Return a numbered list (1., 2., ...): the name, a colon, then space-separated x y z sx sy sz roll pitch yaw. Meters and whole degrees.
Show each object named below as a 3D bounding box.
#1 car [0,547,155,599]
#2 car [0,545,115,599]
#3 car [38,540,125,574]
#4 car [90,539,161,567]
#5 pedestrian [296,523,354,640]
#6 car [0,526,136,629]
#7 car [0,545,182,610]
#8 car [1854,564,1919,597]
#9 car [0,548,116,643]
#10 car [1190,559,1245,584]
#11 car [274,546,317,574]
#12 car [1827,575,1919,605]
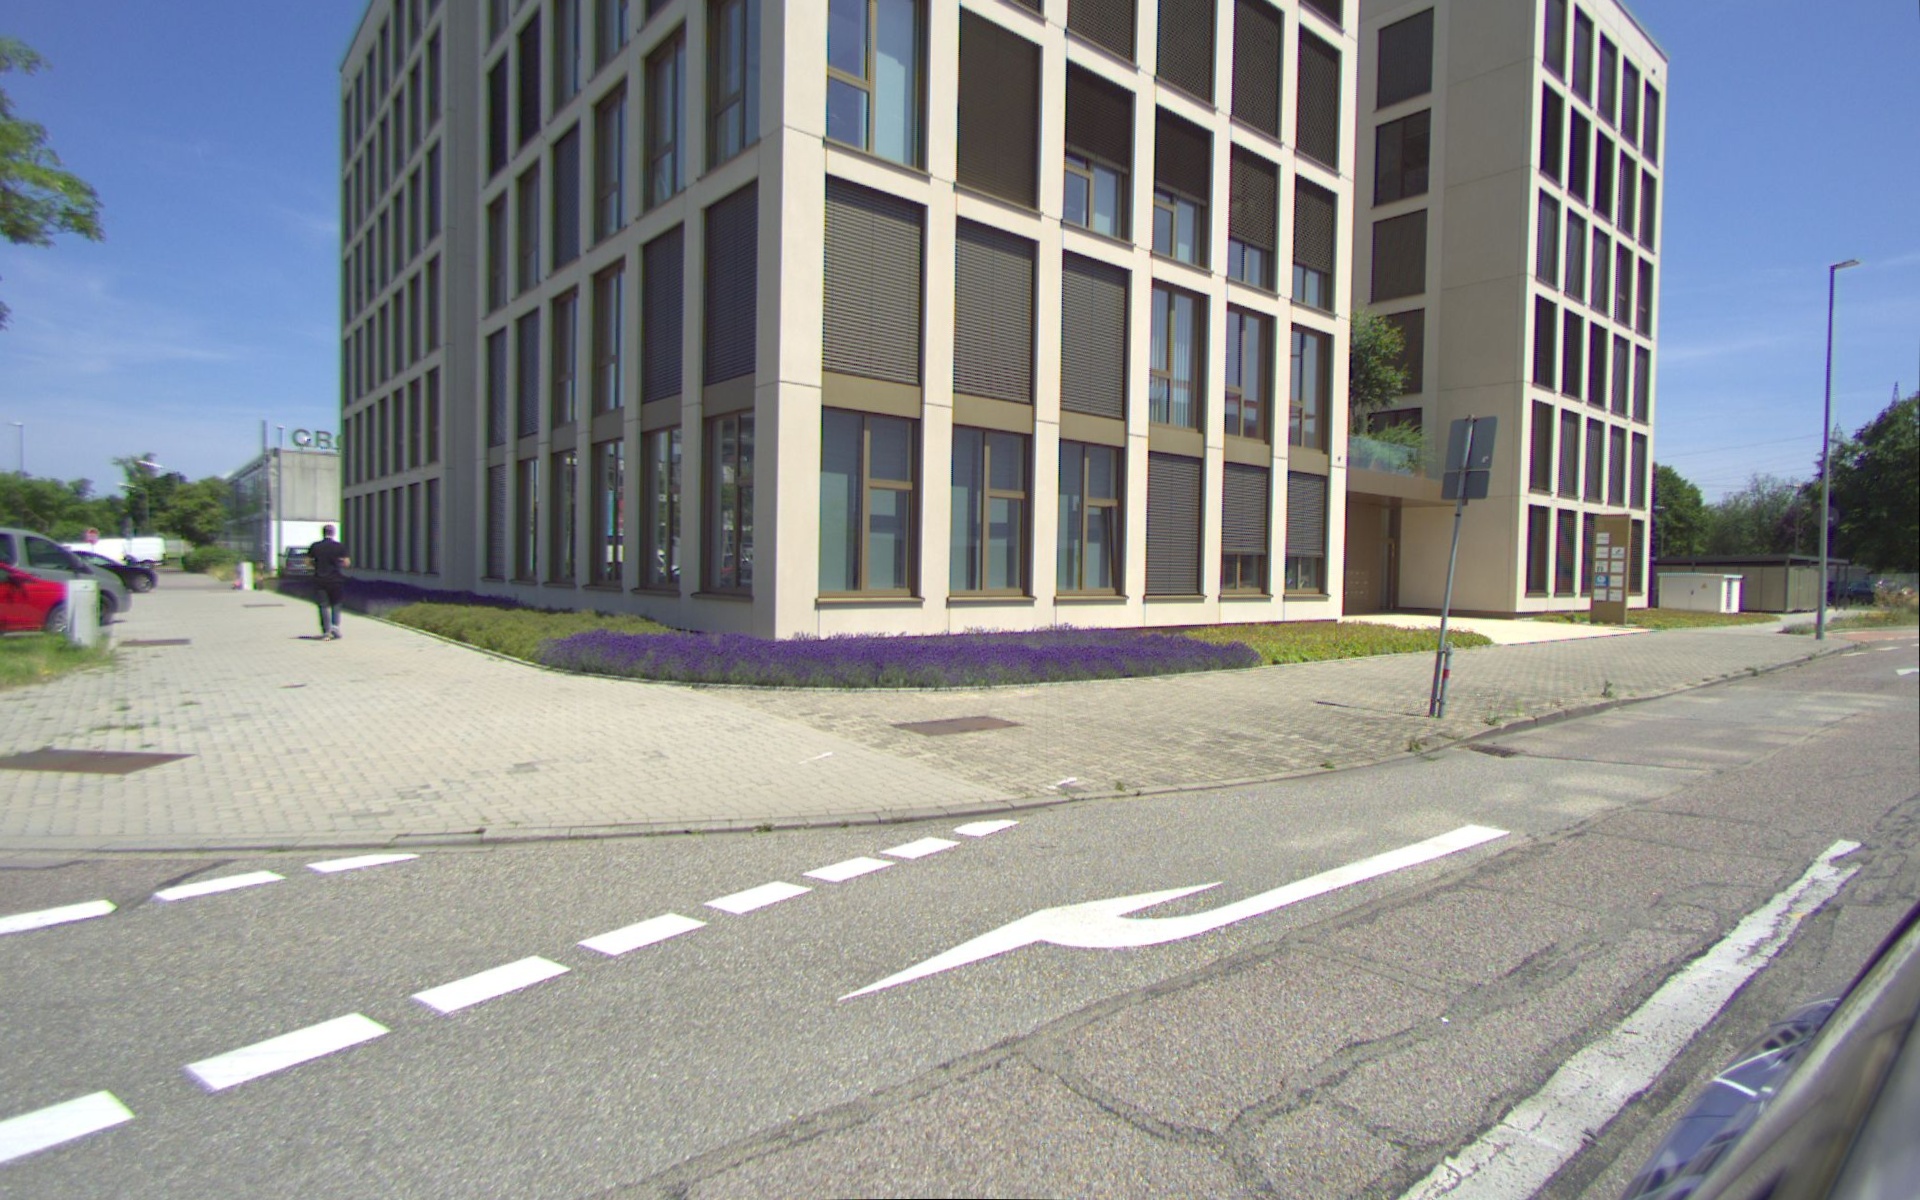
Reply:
1. car: -29.352 -0.941 33.323 1.792 1.557 4.131 0 3 19
2. car: -27.063 -0.832 29.170 1.692 1.482 3.988 1 2 11
3. car: -54.903 -2.665 63.365 3.925 2.038 2.000 0 2 -36
4. car: -67.534 -3.798 81.996 4.280 2.146 2.094 0 2 -37
5. pedestrian: -10.431 -0.317 16.644 0.758 1.867 0.869 -1 3 -32
6. car: -17.934 -0.421 18.310 1.676 1.838 4.899 1 2 7
7. car: -21.921 -0.591 25.222 1.691 1.482 3.991 1 2 9
8. car: 59.054 -1.219 63.449 3.958 1.977 1.984 2 2 25
9. car: -15.507 -0.071 15.442 1.584 1.452 3.991 1 2 9
10. car: 20.464 -2.277 80.390 3.921 1.874 2.002 0 2 -31
11. car: -38.091 -2.285 57.996 1.758 1.541 3.574 -1 3 -39
12. car: 55.554 -0.645 61.467 3.960 1.682 1.822 2 2 26
